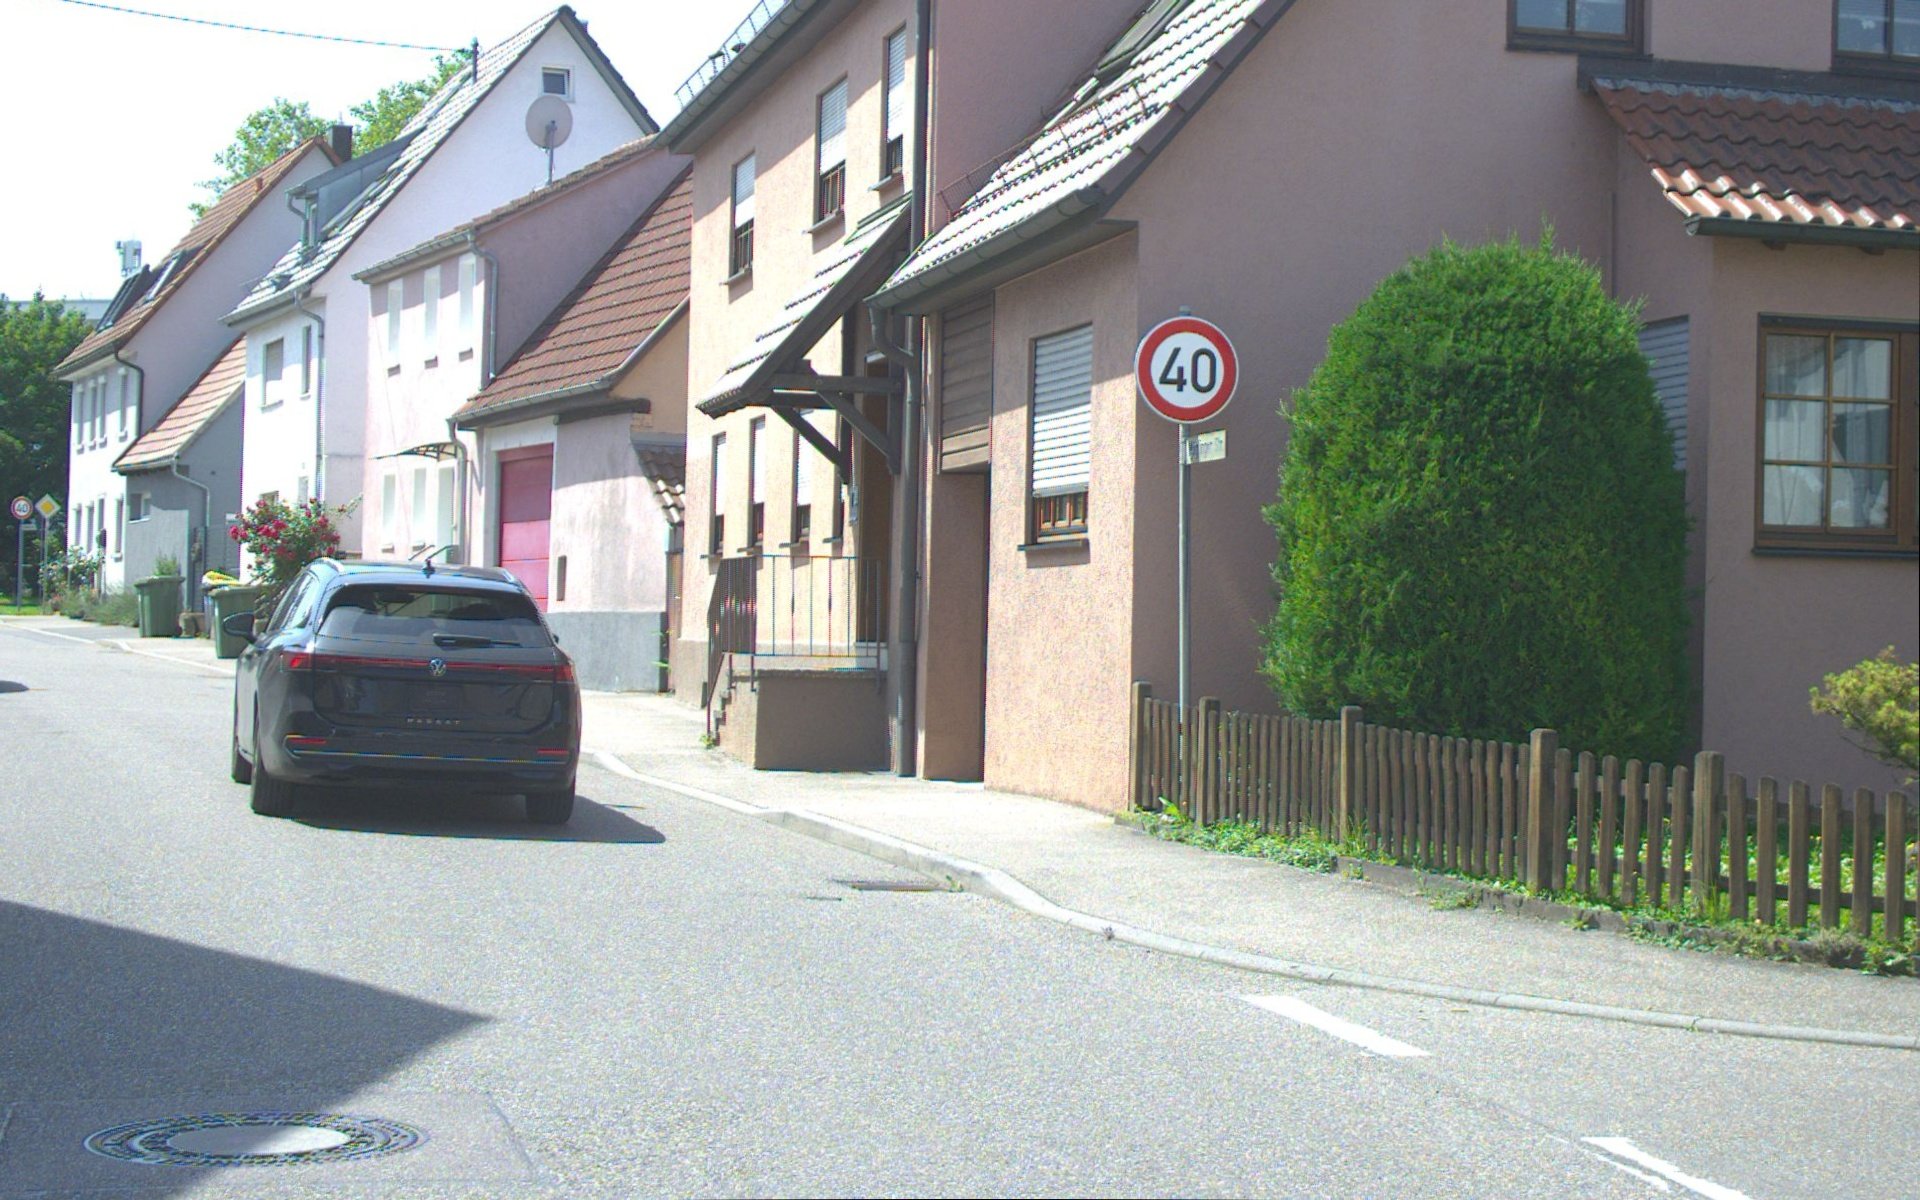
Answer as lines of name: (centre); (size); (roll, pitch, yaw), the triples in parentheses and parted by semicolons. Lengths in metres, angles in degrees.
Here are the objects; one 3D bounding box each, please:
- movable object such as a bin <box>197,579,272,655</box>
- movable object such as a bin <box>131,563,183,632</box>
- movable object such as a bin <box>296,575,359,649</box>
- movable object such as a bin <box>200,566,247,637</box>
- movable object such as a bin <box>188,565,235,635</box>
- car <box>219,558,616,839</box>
movable object such as a bin: (-10.806, 0.250, 51.200); (0.875, 1.071, 0.873); (-3, 2, -25)
movable object such as a bin: (-14.002, -0.047, 59.924); (0.678, 1.151, 0.820); (3, 0, -25)
movable object such as a bin: (-9.325, 0.174, 50.682); (0.678, 1.046, 0.835); (-3, 2, -25)
movable object such as a bin: (-12.710, 0.026, 59.347); (0.664, 1.190, 0.588); (2, 0, -21)
movable object such as a bin: (-13.059, 0.000, 59.950); (0.664, 1.190, 0.660); (2, 0, -21)
car: (-3.333, 0.500, 20.387); (1.841, 1.415, 4.684); (2, 0, -14)
